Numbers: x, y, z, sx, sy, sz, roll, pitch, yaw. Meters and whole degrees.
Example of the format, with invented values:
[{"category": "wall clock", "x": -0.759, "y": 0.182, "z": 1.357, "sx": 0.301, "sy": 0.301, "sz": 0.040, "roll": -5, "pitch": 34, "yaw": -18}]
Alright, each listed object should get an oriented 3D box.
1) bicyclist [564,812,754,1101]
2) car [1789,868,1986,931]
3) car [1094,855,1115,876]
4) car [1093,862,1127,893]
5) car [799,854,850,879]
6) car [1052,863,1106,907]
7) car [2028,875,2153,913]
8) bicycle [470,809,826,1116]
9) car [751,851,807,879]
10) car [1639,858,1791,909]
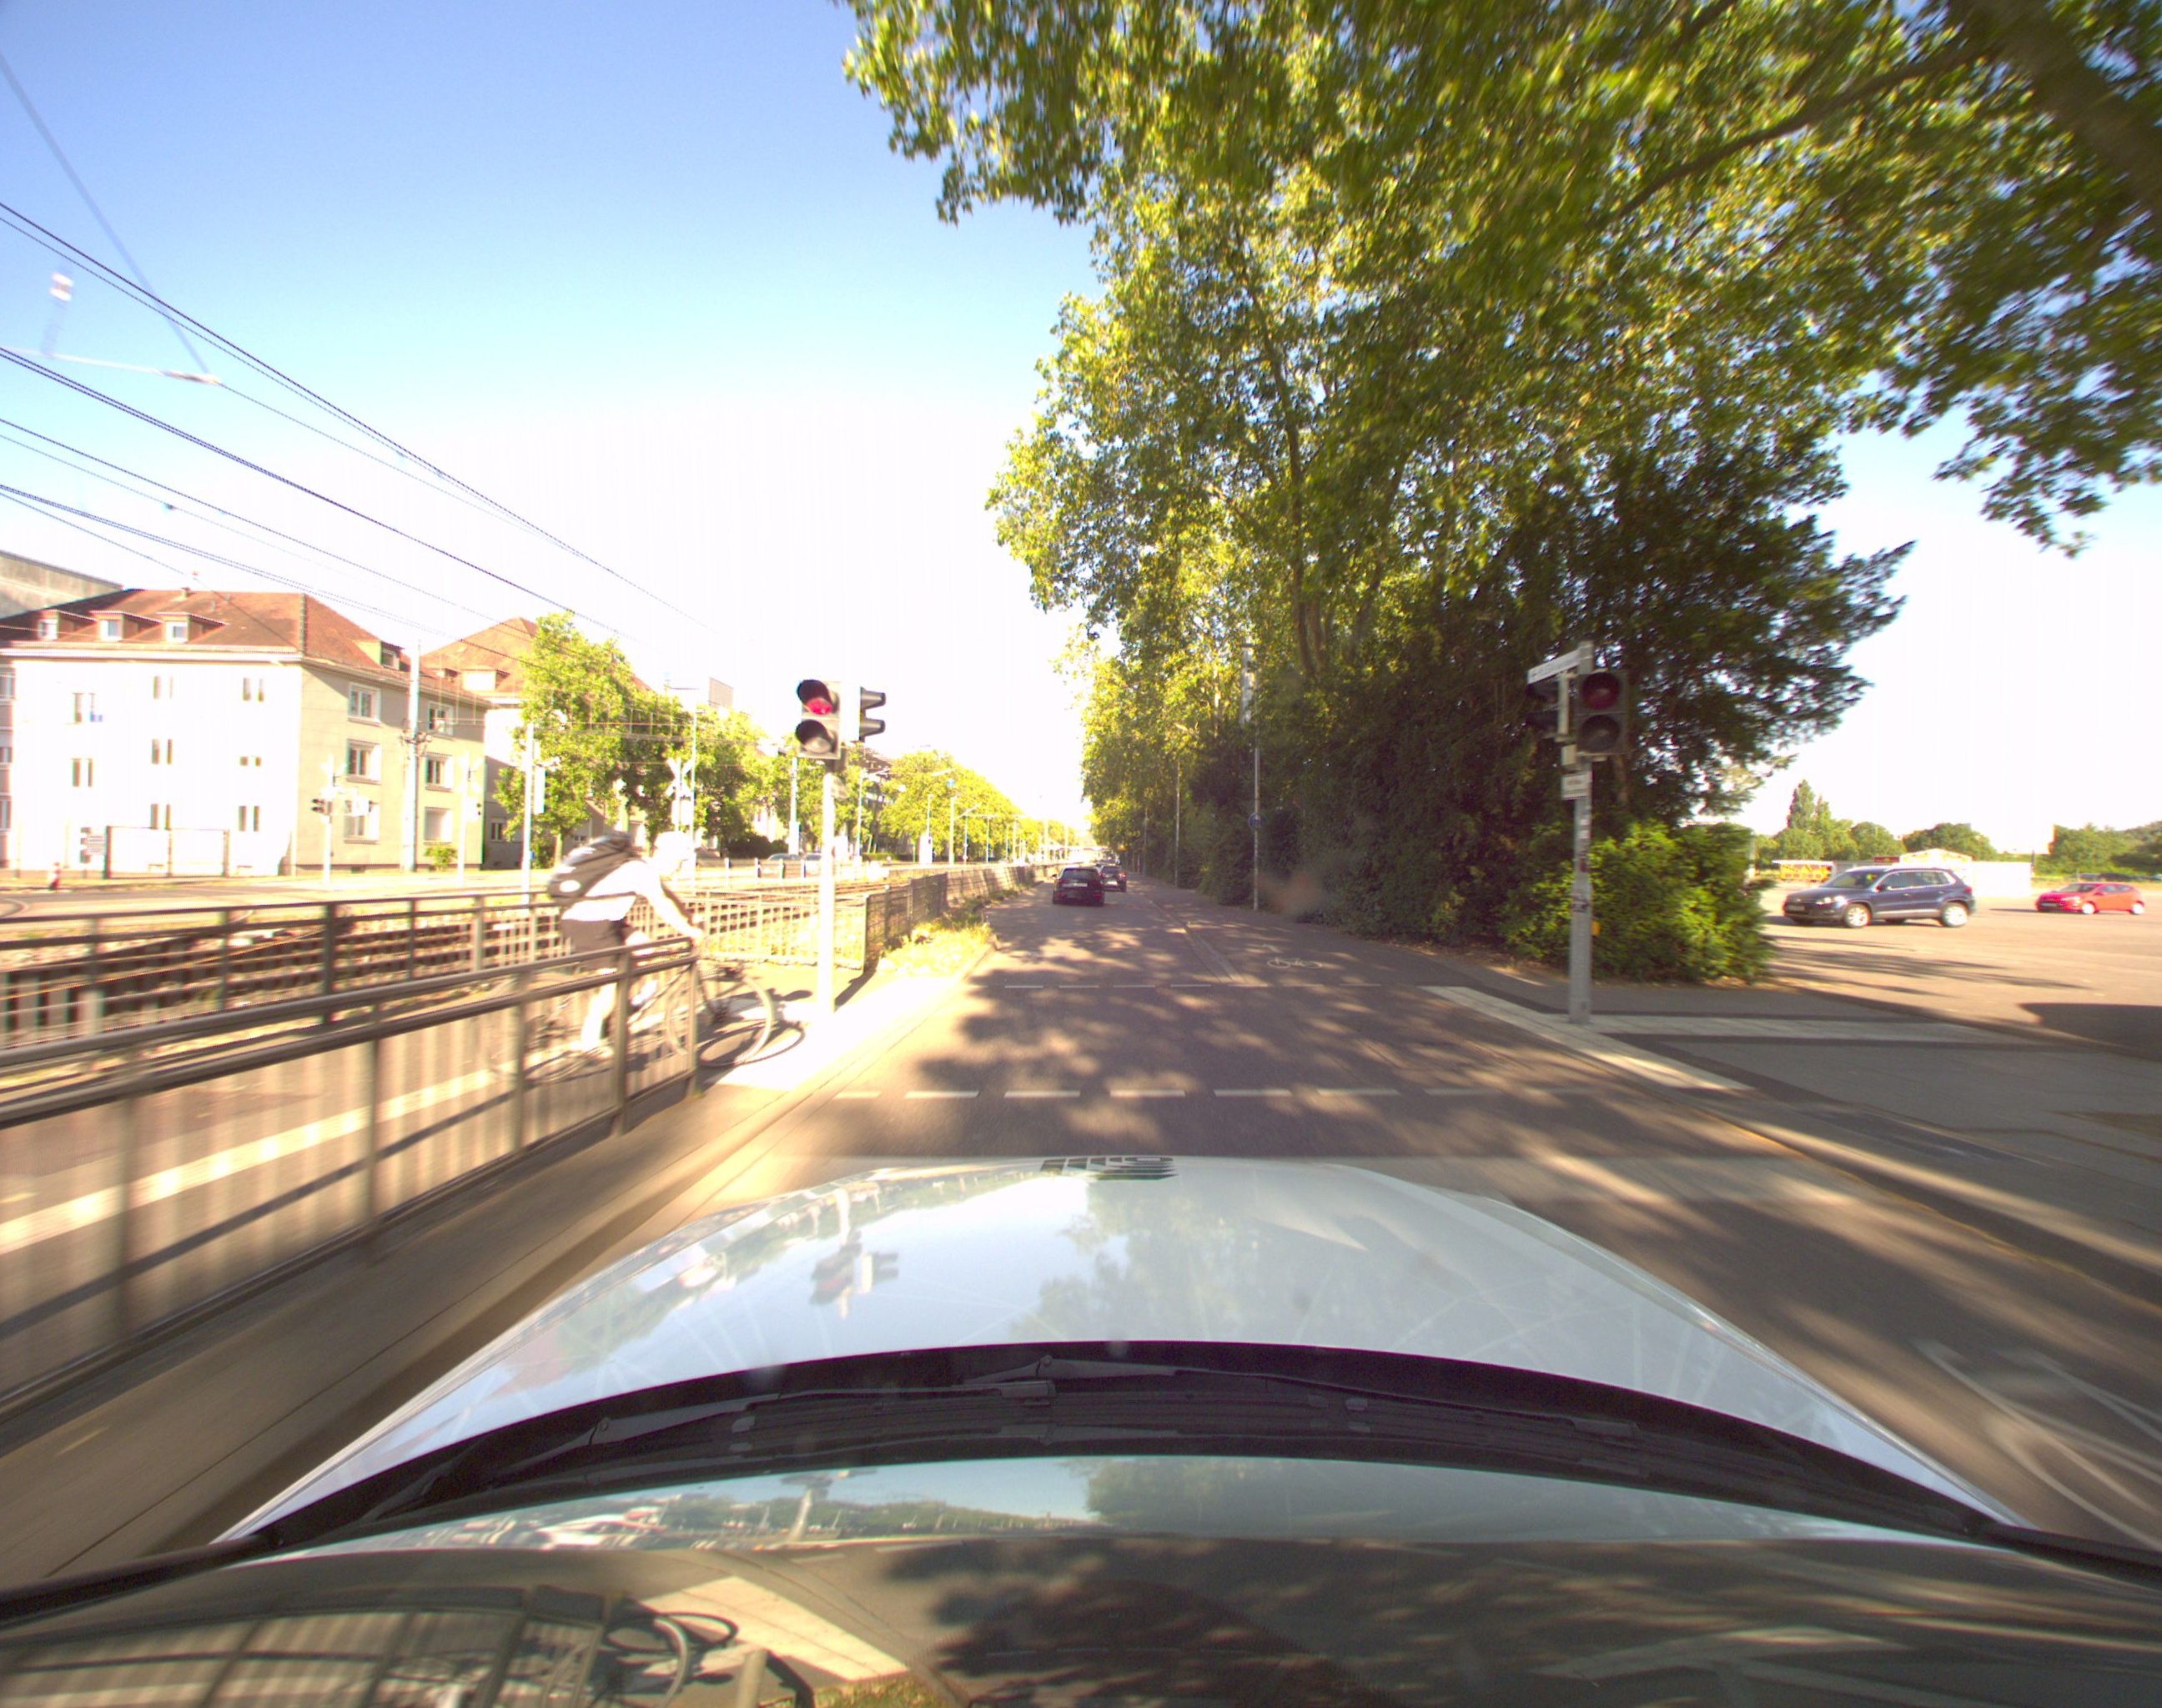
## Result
[{"category": "bicyclist", "x": -2.806, "y": 0.612, "z": 5.428, "sx": 0.914, "sy": 1.717, "sz": 0.761, "roll": 2, "pitch": -1, "yaw": -43}, {"category": "car", "x": 22.369, "y": 1.228, "z": 22.687, "sx": 3.798, "sy": 1.609, "sz": 1.671, "roll": 1, "pitch": -1, "yaw": 2}, {"category": "car", "x": 2.355, "y": 1.140, "z": 81.878, "sx": 1.986, "sy": 2.014, "sz": 4.002, "roll": 1, "pitch": 0, "yaw": 2}, {"category": "car", "x": 1.648, "y": 1.305, "z": 46.821, "sx": 1.757, "sy": 1.619, "sz": 3.999, "roll": 1, "pitch": 0, "yaw": -1}, {"category": "car", "x": -17.268, "y": 0.847, "z": 55.028, "sx": 1.986, "sy": 1.530, "sz": 4.001, "roll": 2, "pitch": -1, "yaw": 2}, {"category": "car", "x": -0.085, "y": 1.117, "z": 30.283, "sx": 1.872, "sy": 1.457, "sz": 3.355, "roll": 1, "pitch": 0, "yaw": -1}, {"category": "car", "x": 46.288, "y": 1.806, "z": 37.377, "sx": 3.803, "sy": 1.601, "sz": 1.649, "roll": 1, "pitch": -1, "yaw": -2}, {"category": "bicycle", "x": -2.795, "y": 0.624, "z": 5.454, "sx": 1.984, "sy": 1.717, "sz": 0.584, "roll": 2, "pitch": -1, "yaw": -43}, {"category": "car", "x": -18.037, "y": 0.653, "z": 48.887, "sx": 1.733, "sy": 1.547, "sz": 4.001, "roll": 2, "pitch": -1, "yaw": 1}, {"category": "car", "x": 23.981, "y": 1.104, "z": 30.906, "sx": 4.341, "sy": 1.816, "sz": 1.998, "roll": 1, "pitch": -1, "yaw": -3}]
